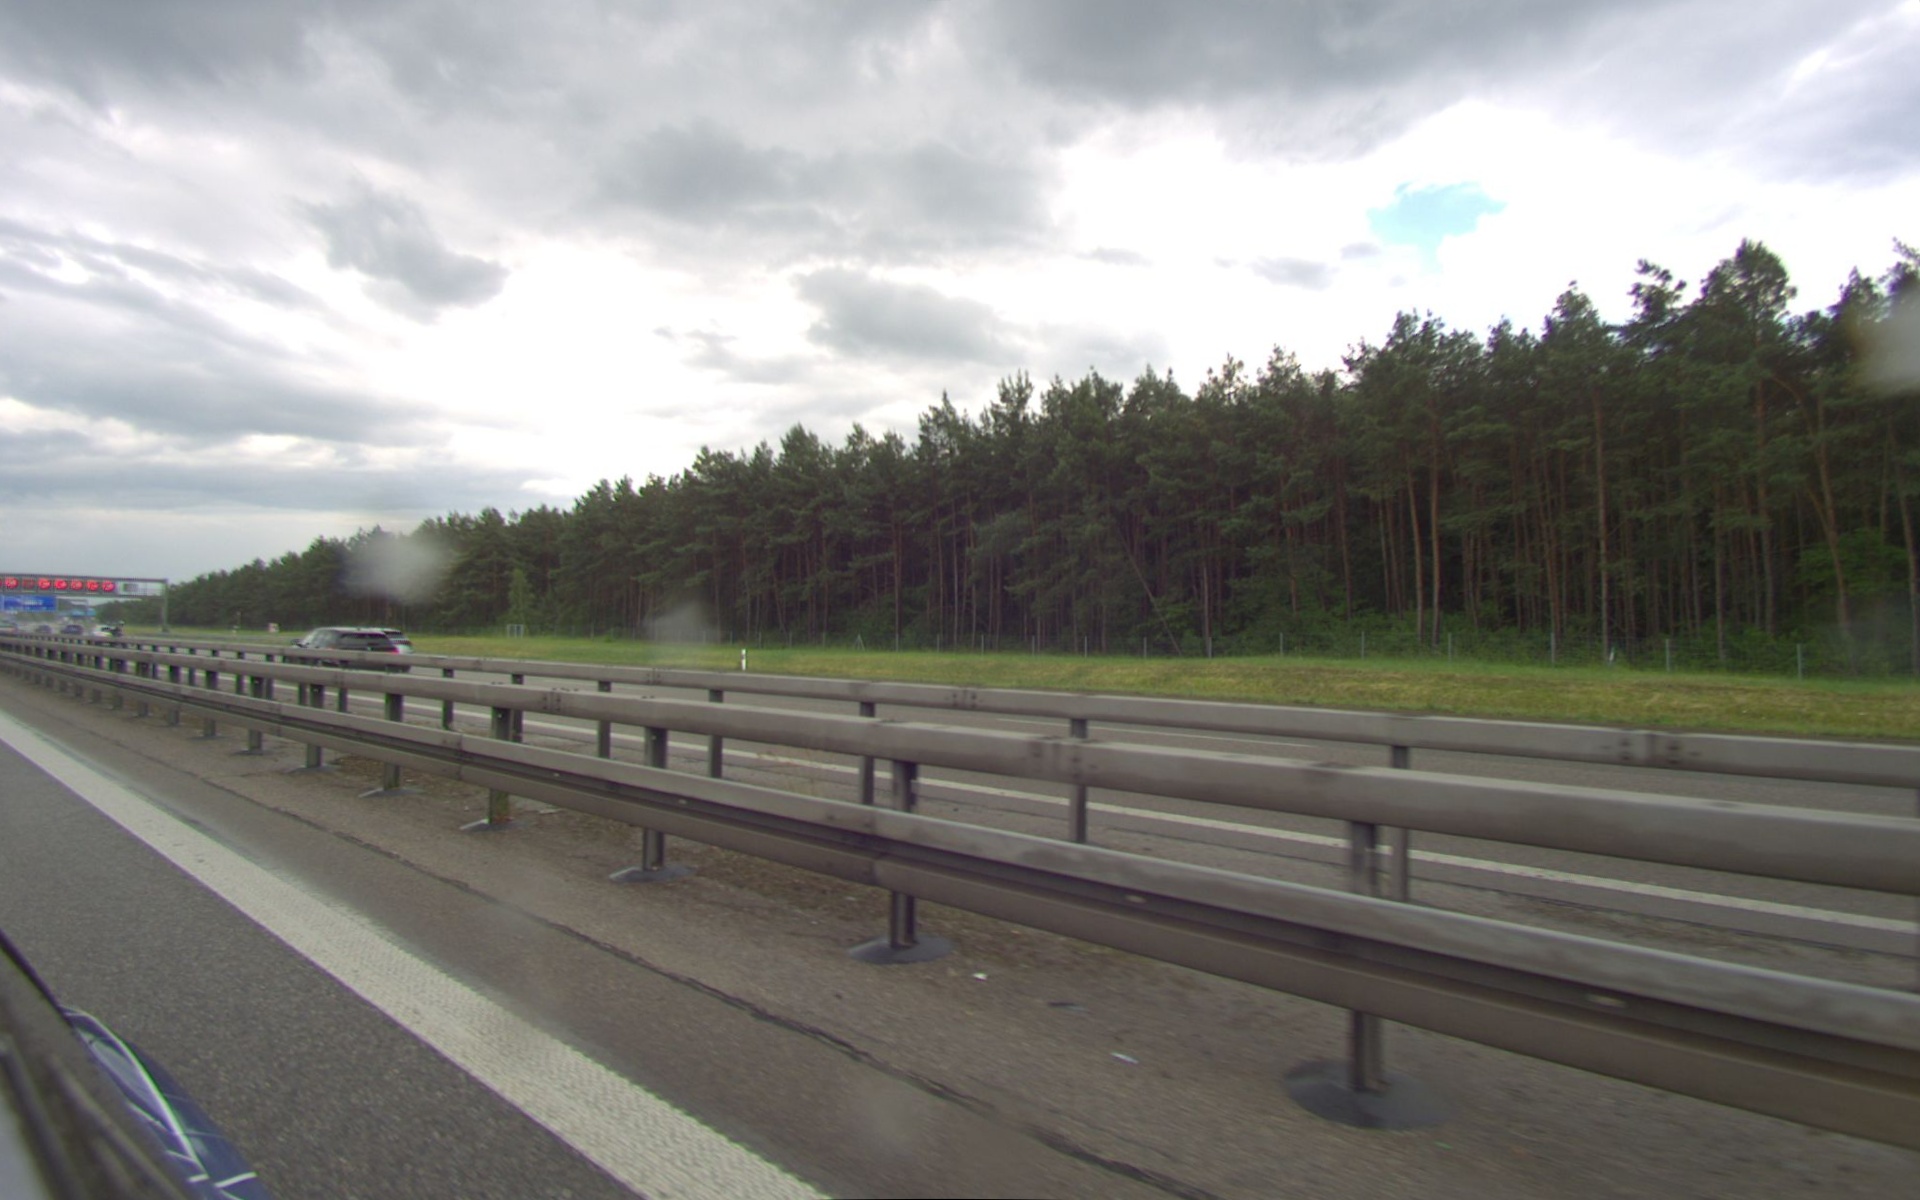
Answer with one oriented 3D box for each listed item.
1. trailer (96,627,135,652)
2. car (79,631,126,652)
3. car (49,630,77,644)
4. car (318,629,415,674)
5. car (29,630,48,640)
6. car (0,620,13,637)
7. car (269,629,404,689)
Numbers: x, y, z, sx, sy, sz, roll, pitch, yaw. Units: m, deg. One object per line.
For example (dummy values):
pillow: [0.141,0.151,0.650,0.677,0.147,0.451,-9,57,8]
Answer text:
trailer: [-59.676,2.806,71.503,3.206,1.685,1.466,-1,-4,40]
car: [-62.692,3.001,73.966,4.569,1.431,1.810,-1,-4,40]
car: [-105.939,4.350,119.514,4.512,1.559,1.879,-1,-5,42]
car: [-21.103,1.797,35.936,3.997,1.492,1.710,-1,-3,40]
car: [-137.168,5.223,150.641,4.183,1.406,1.705,-1,-4,42]
car: [-88.750,2.645,93.196,4.401,1.559,1.766,-1,-3,42]
car: [-16.009,1.488,25.917,4.089,1.399,1.710,-1,-4,40]
